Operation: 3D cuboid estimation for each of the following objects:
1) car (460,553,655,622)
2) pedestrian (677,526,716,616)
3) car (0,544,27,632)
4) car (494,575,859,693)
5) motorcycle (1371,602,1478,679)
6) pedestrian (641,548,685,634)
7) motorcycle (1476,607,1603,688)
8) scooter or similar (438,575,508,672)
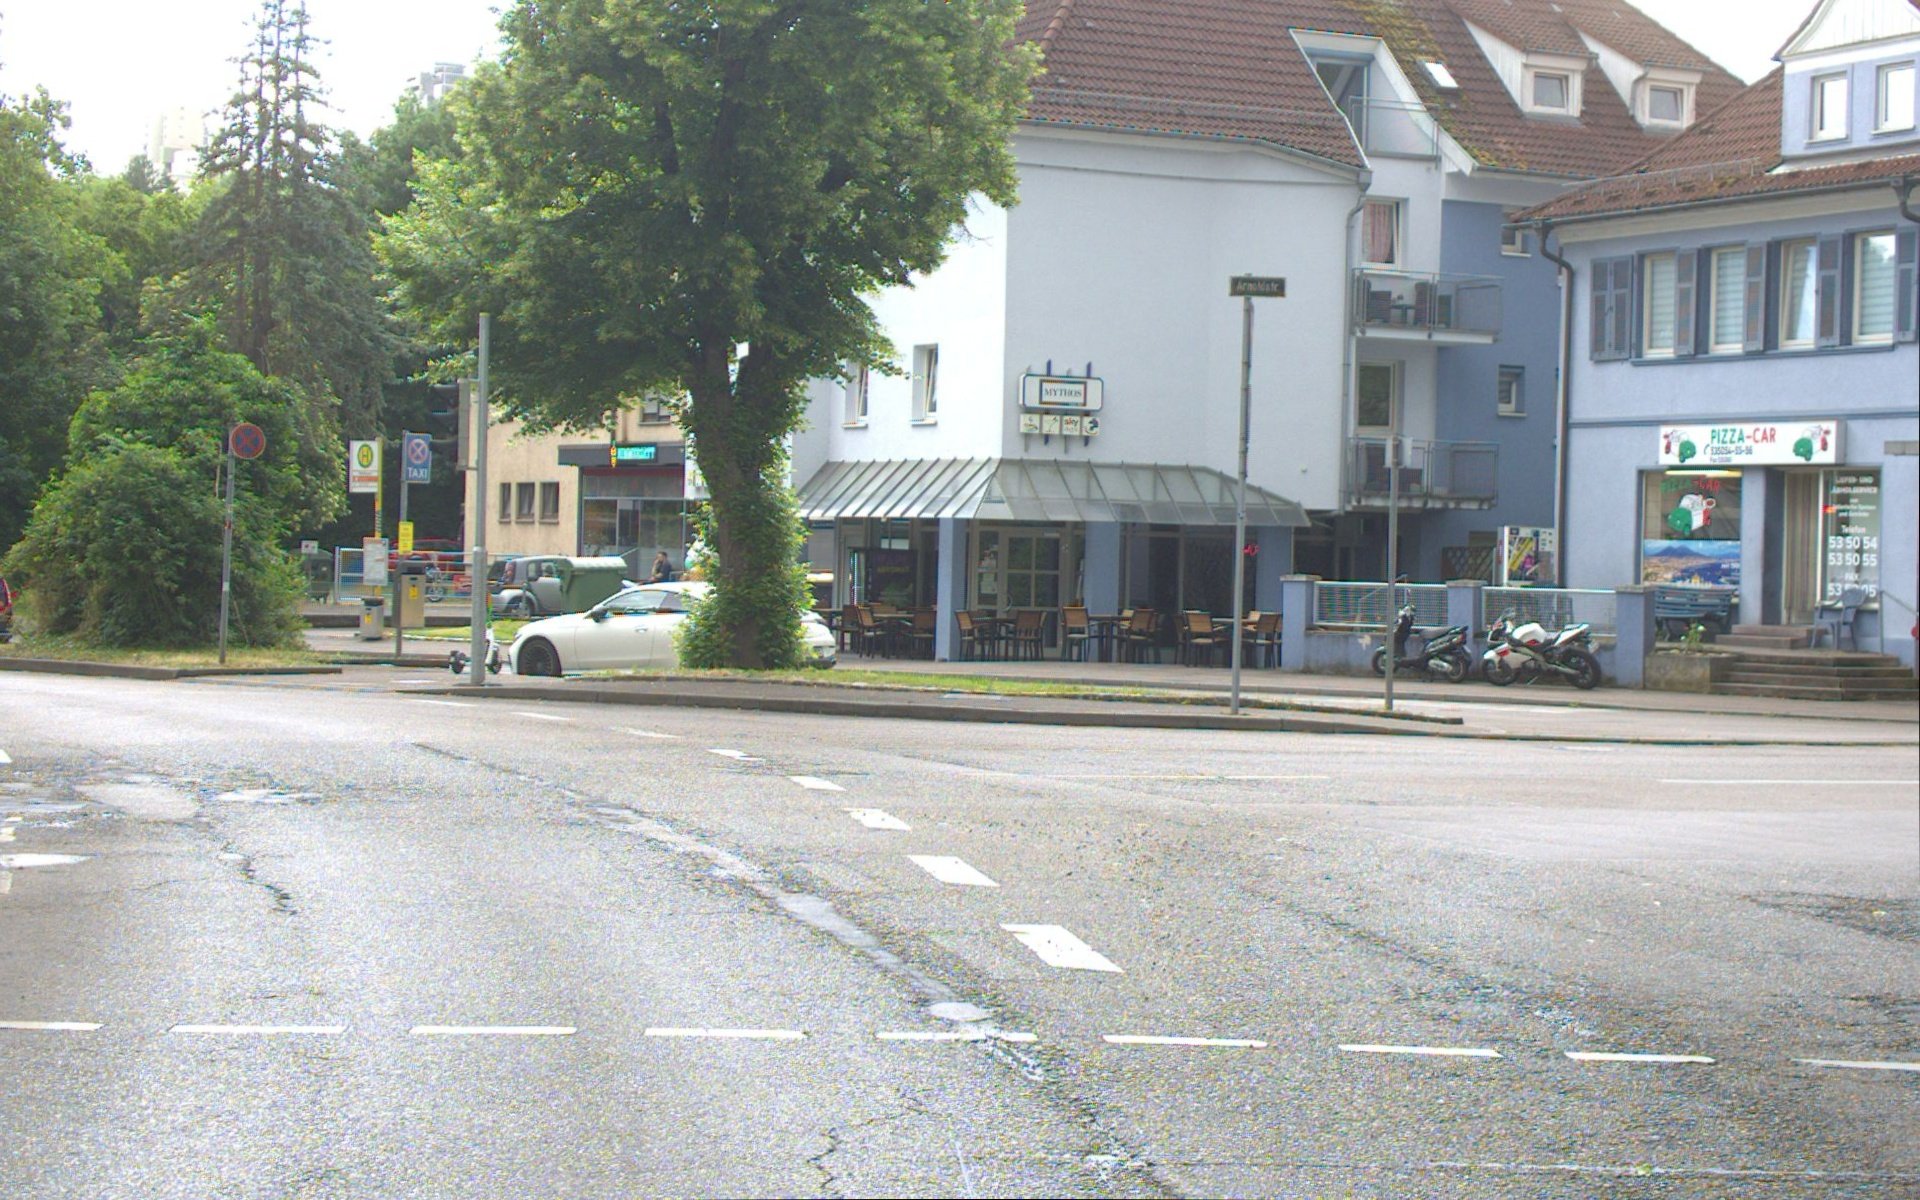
[{"bbox_3d":[-8.857,-0.276,75.632,3.936,1.437,1.753,1,1,-20],"label":"car"},{"bbox_3d":[-4.545,-0.499,59.239,0.543,1.554,0.467,0,0,13],"label":"pedestrian"},{"bbox_3d":[-16.419,-0.220,53.523,3.322,1.347,1.778,1,1,27],"label":"car"},{"bbox_3d":[-3.803,0.419,45.764,4.709,1.405,1.898,2,1,35],"label":"car"},{"bbox_3d":[6.774,0.589,50.137,1.458,1.085,0.523,1,1,35],"label":"motorcycle"},{"bbox_3d":[-6.973,-0.213,80.653,0.837,2.007,1.056,1,1,-14],"label":"pedestrian"},{"bbox_3d":[8.150,0.660,48.367,1.628,1.085,0.626,1,1,32],"label":"motorcycle"},{"bbox_3d":[-6.029,0.282,42.619,0.442,1.171,1.437,1,1,9],"label":"scooter or similar"}]
